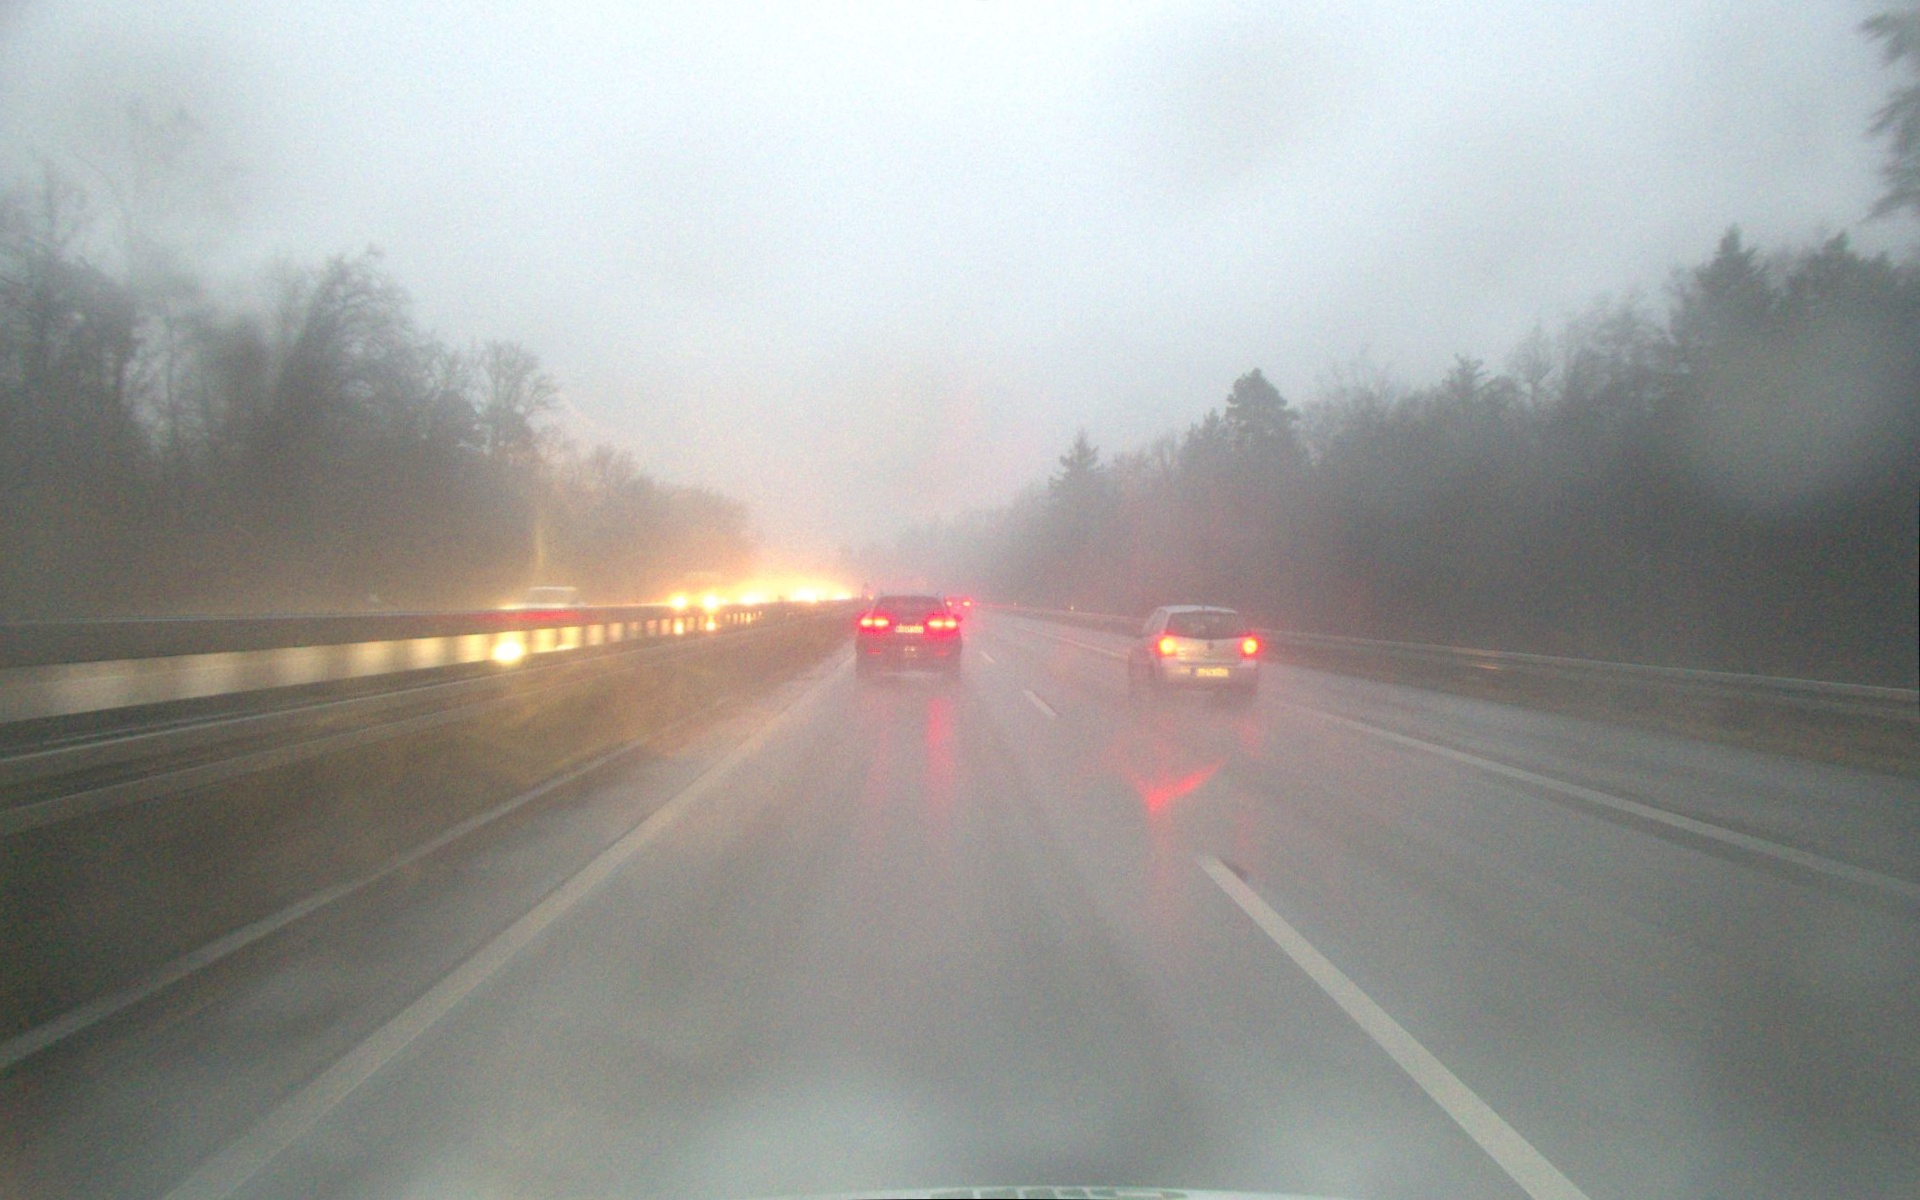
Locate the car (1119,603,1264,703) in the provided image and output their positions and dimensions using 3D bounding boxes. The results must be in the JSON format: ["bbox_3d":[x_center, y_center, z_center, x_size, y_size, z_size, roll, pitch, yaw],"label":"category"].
[{"bbox_3d":[3.640,0.797,26.518,1.744,1.462,3.536,1,0,-1],"label":"car"}]

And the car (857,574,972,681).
[{"bbox_3d":[-0.869,0.456,30.174,1.946,1.798,4.171,1,0,-3],"label":"car"}]

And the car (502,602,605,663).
[{"bbox_3d":[-12.442,0.944,50.950,1.838,1.725,5.449,0,0,0],"label":"car"}]
